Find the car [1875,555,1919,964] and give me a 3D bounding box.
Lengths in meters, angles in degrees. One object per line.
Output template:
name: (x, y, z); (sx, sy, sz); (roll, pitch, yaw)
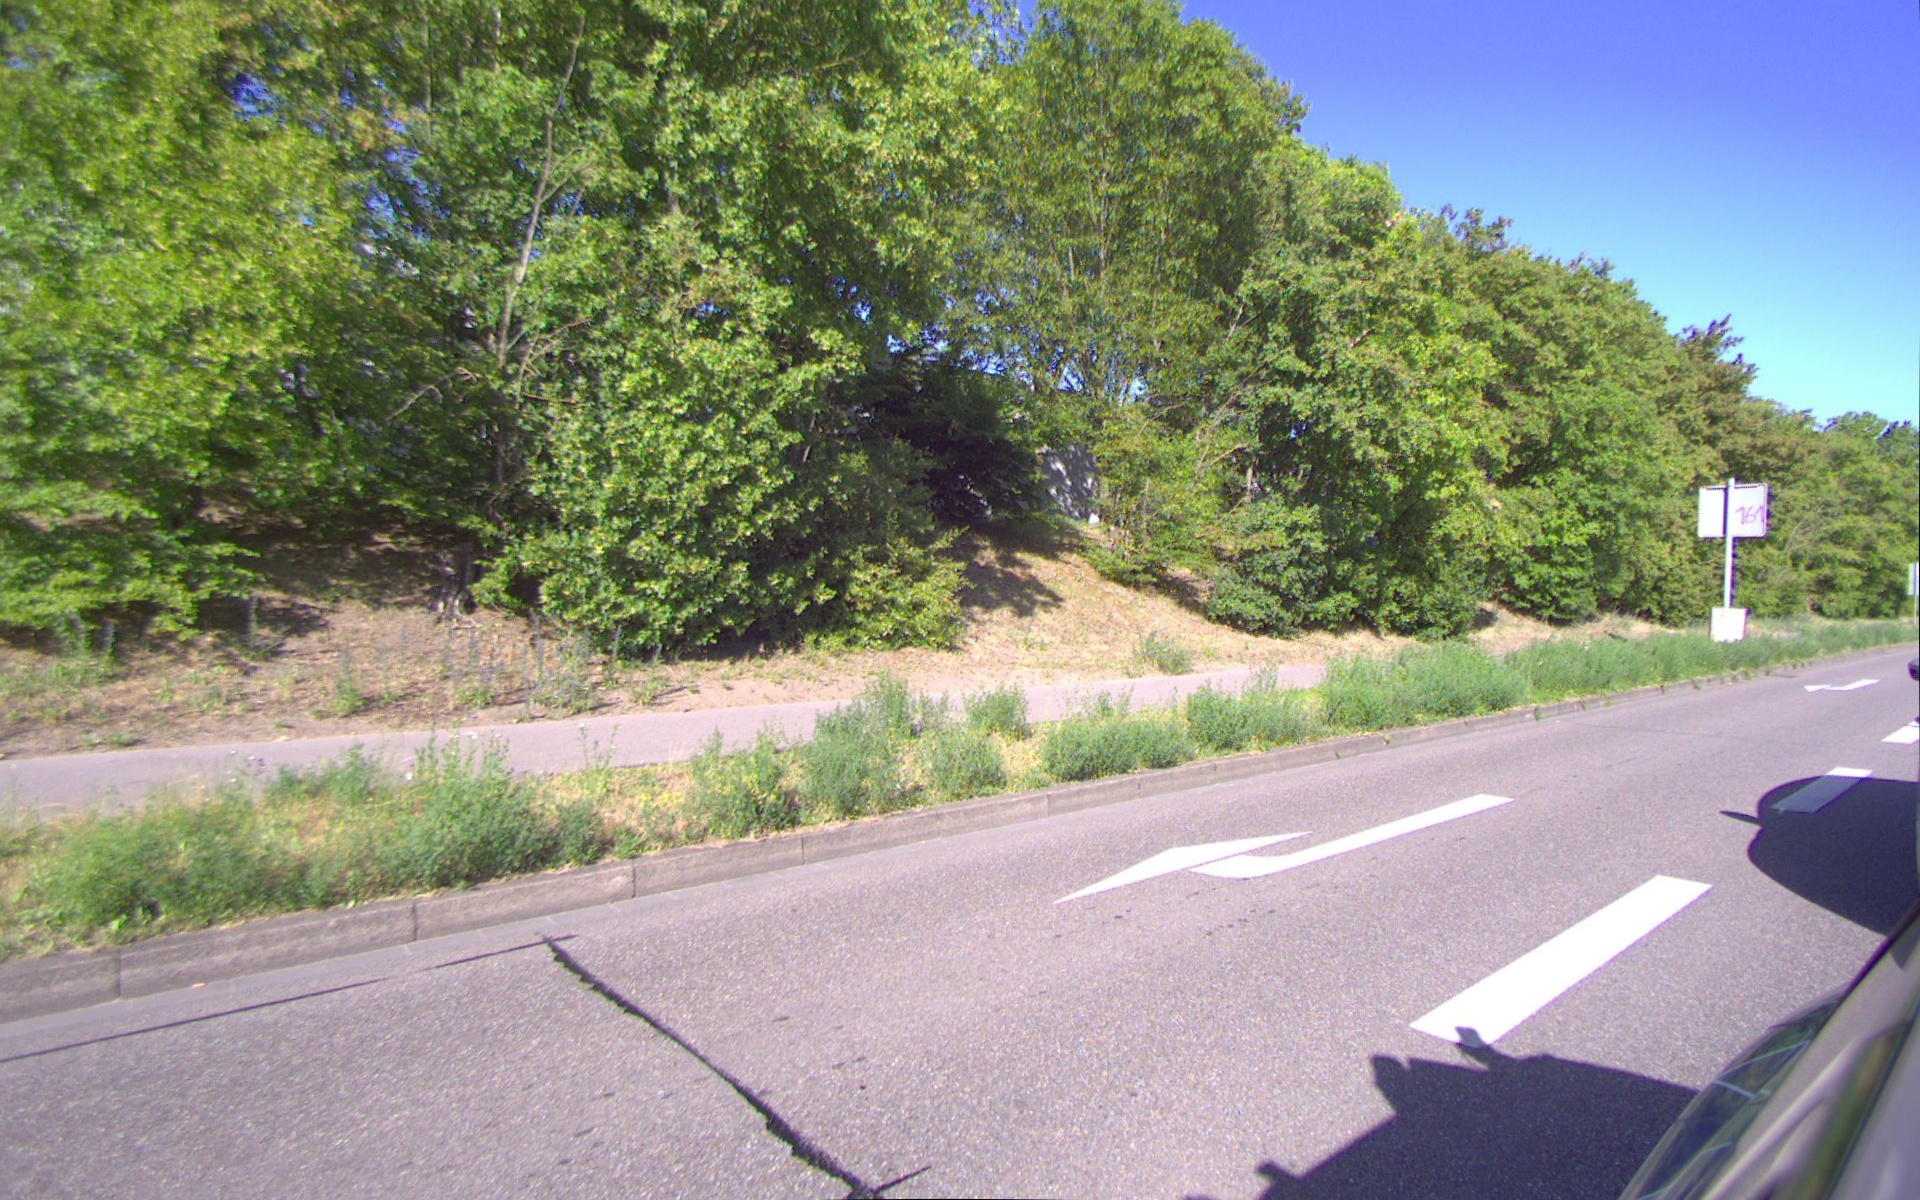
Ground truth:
car: (5.917, 0.645, 4.691); (4.026, 1.631, 2.023); (0, 0, -41)
